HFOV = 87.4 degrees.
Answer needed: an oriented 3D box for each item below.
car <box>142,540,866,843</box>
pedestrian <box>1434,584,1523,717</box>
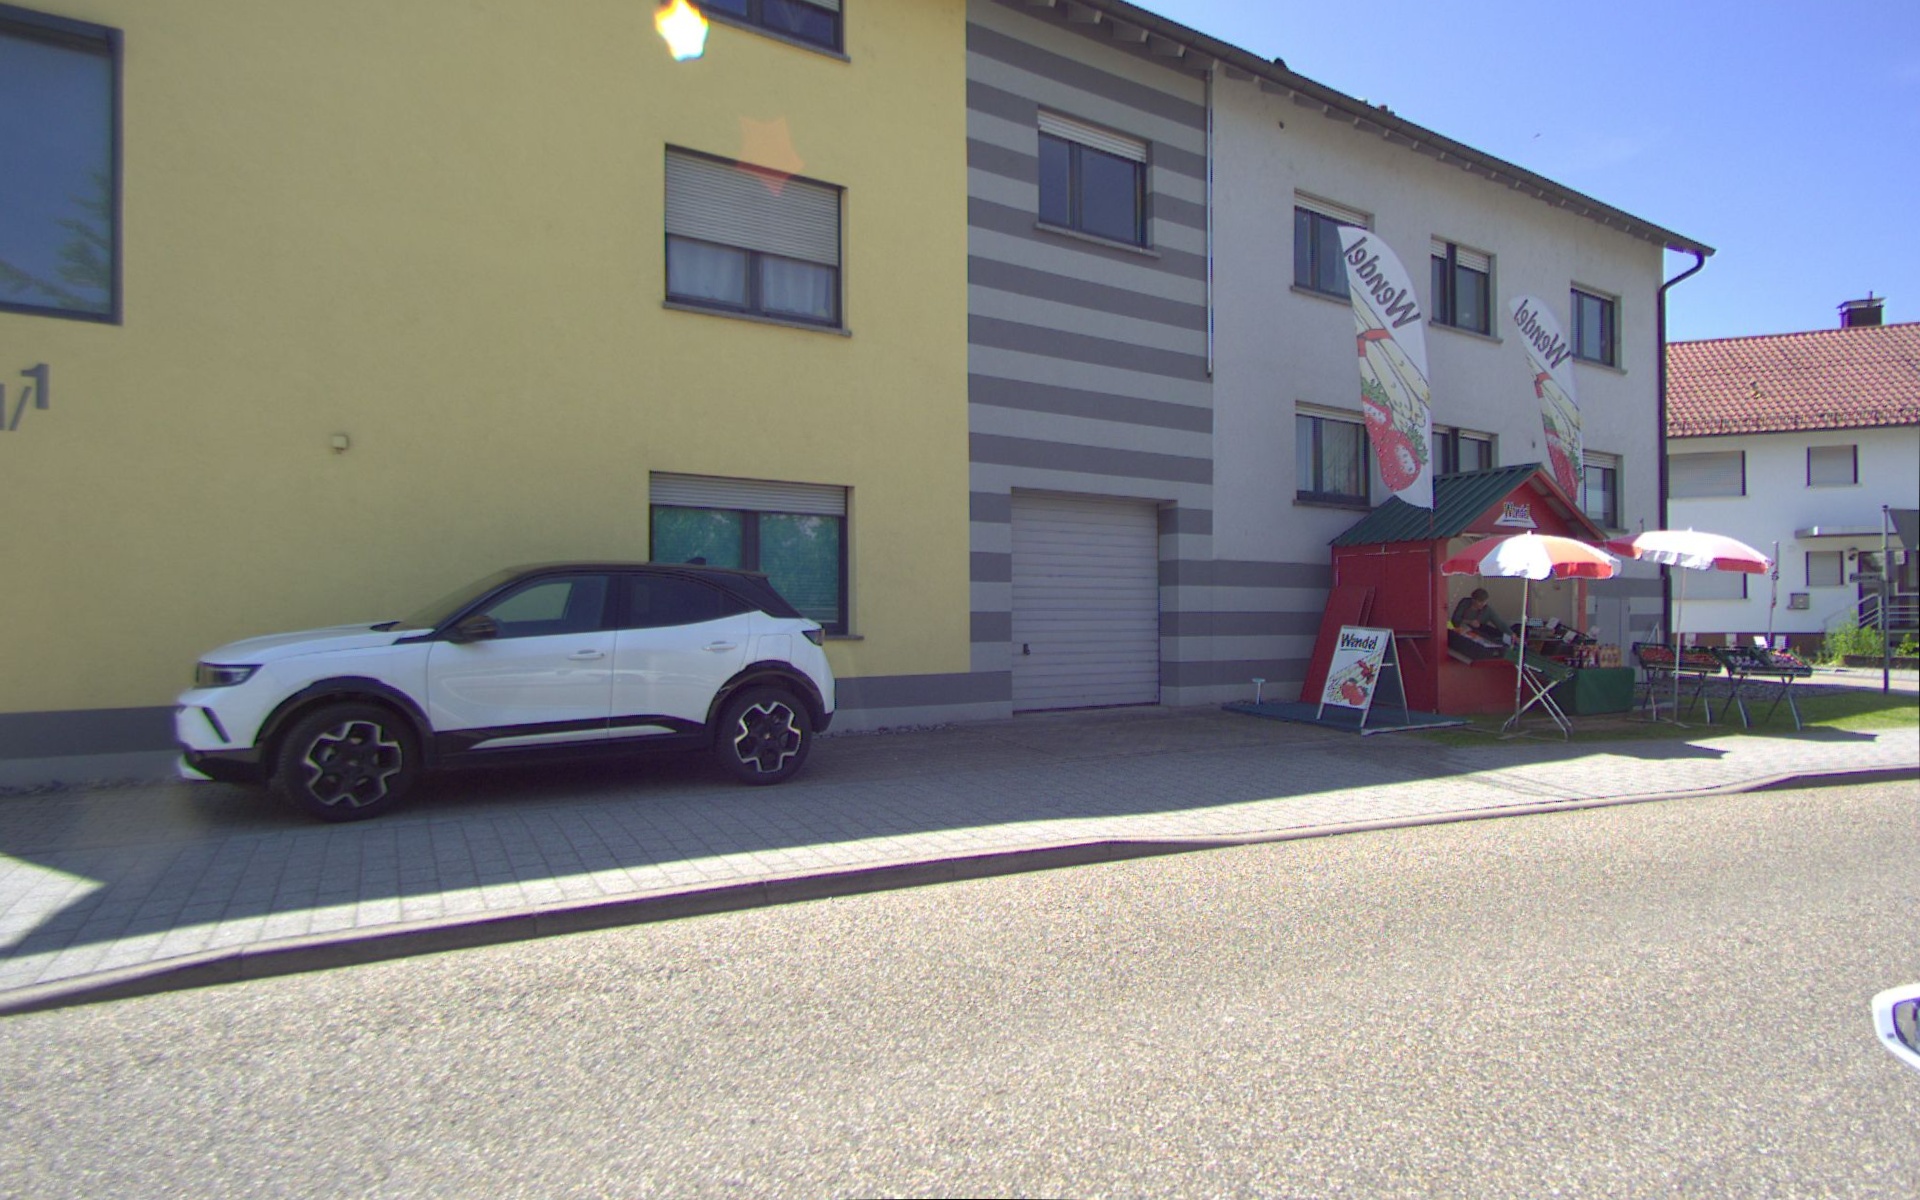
[{"bbox_3d":[-2.899,0.515,7.037,4.140,1.572,1.722,1,-1,-31],"label":"car"},{"bbox_3d":[6.425,0.620,12.479,0.792,1.608,0.613,0,-1,2],"label":"pedestrian"}]
